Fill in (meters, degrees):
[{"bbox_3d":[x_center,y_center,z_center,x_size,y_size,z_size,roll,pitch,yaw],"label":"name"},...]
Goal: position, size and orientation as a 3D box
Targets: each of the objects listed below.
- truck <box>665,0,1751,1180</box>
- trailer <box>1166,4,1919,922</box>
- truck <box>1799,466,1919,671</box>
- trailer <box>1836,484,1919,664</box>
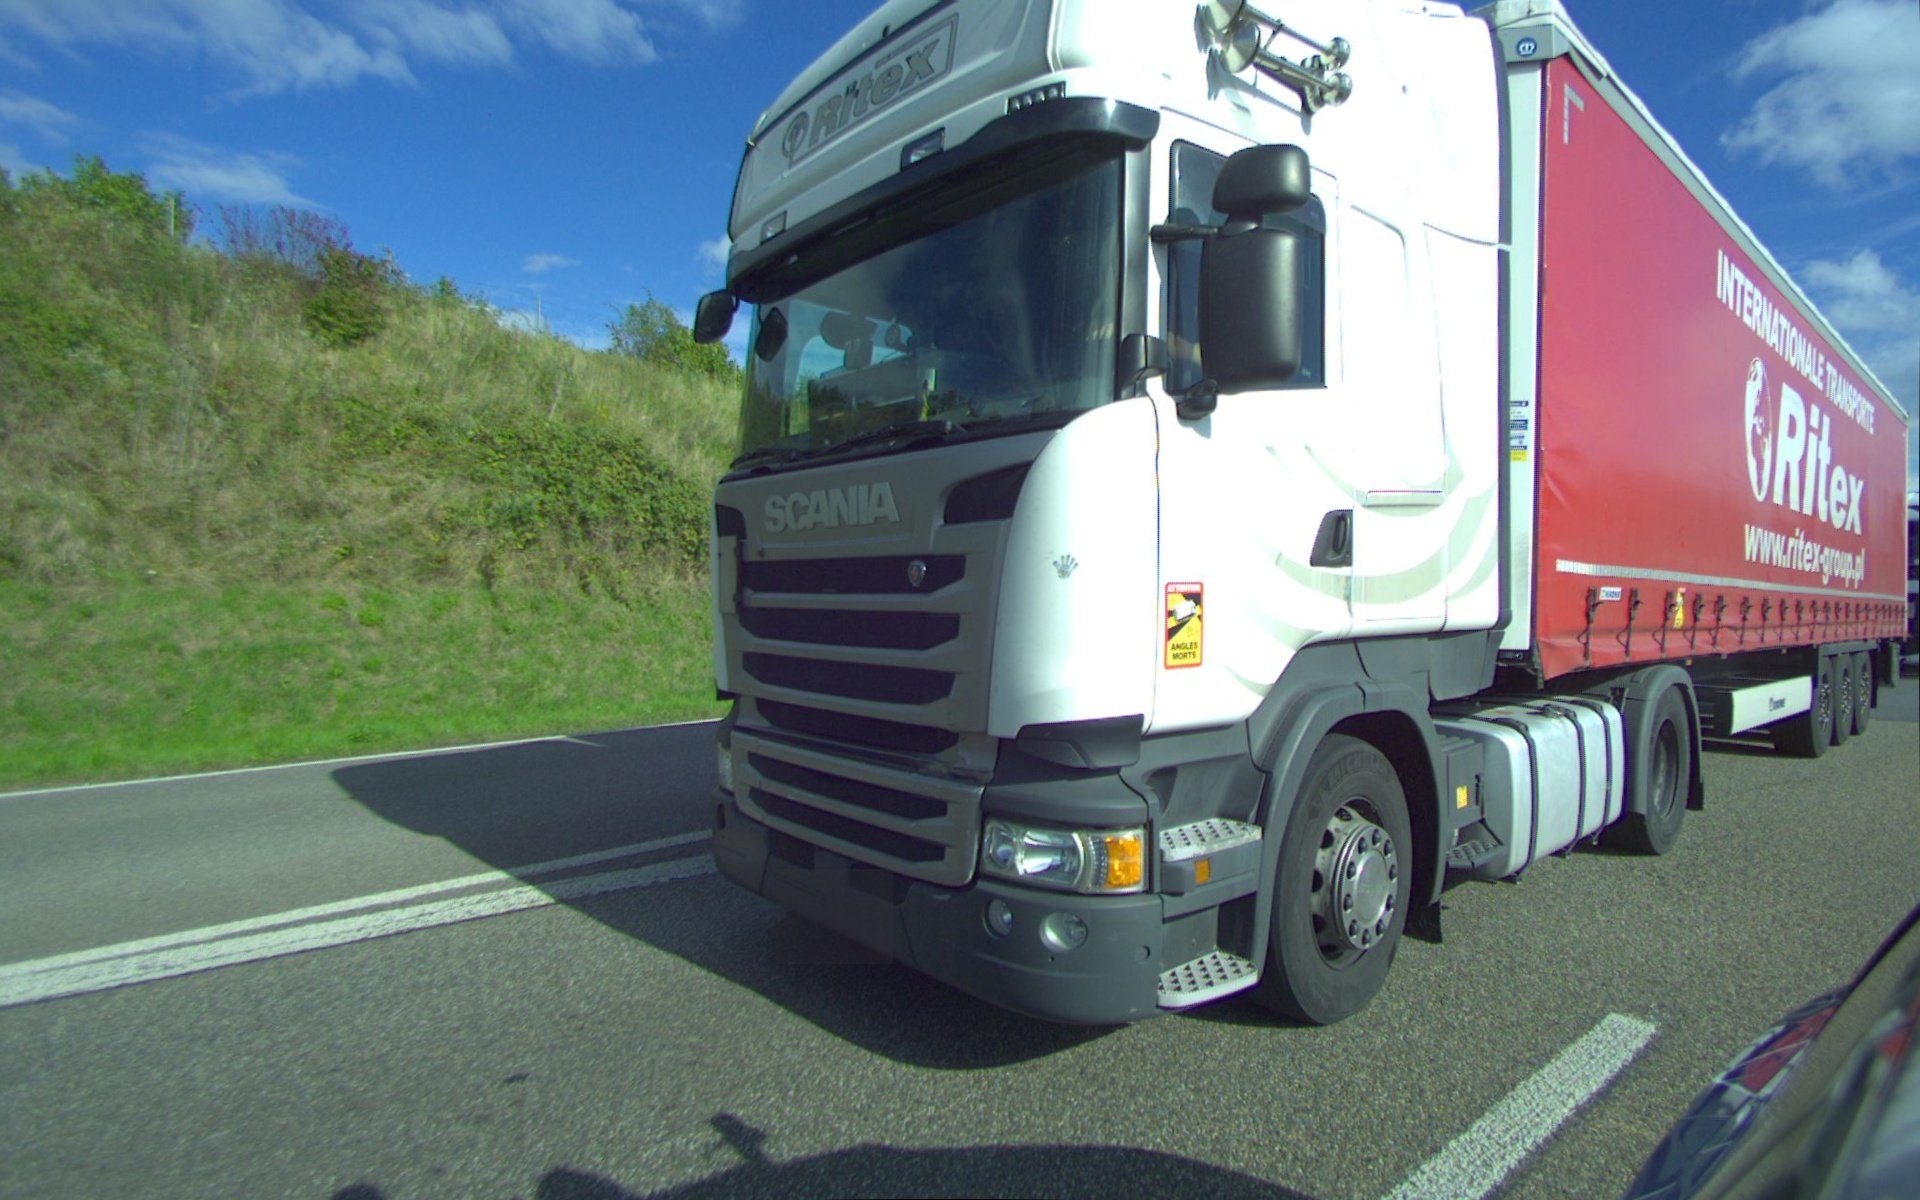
[{"bbox_3d":[1.810,-0.684,5.253,5.996,4.071,2.370,0,1,-39],"label":"truck"},{"bbox_3d":[7.355,-0.658,9.926,14.047,4.047,2.333,0,0,-41],"label":"trailer"},{"bbox_3d":[20.747,-0.608,22.242,5.851,4.033,2.632,0,0,-41],"label":"truck"},{"bbox_3d":[26.530,-0.596,27.219,13.131,4.051,2.622,0,0,-41],"label":"trailer"}]
